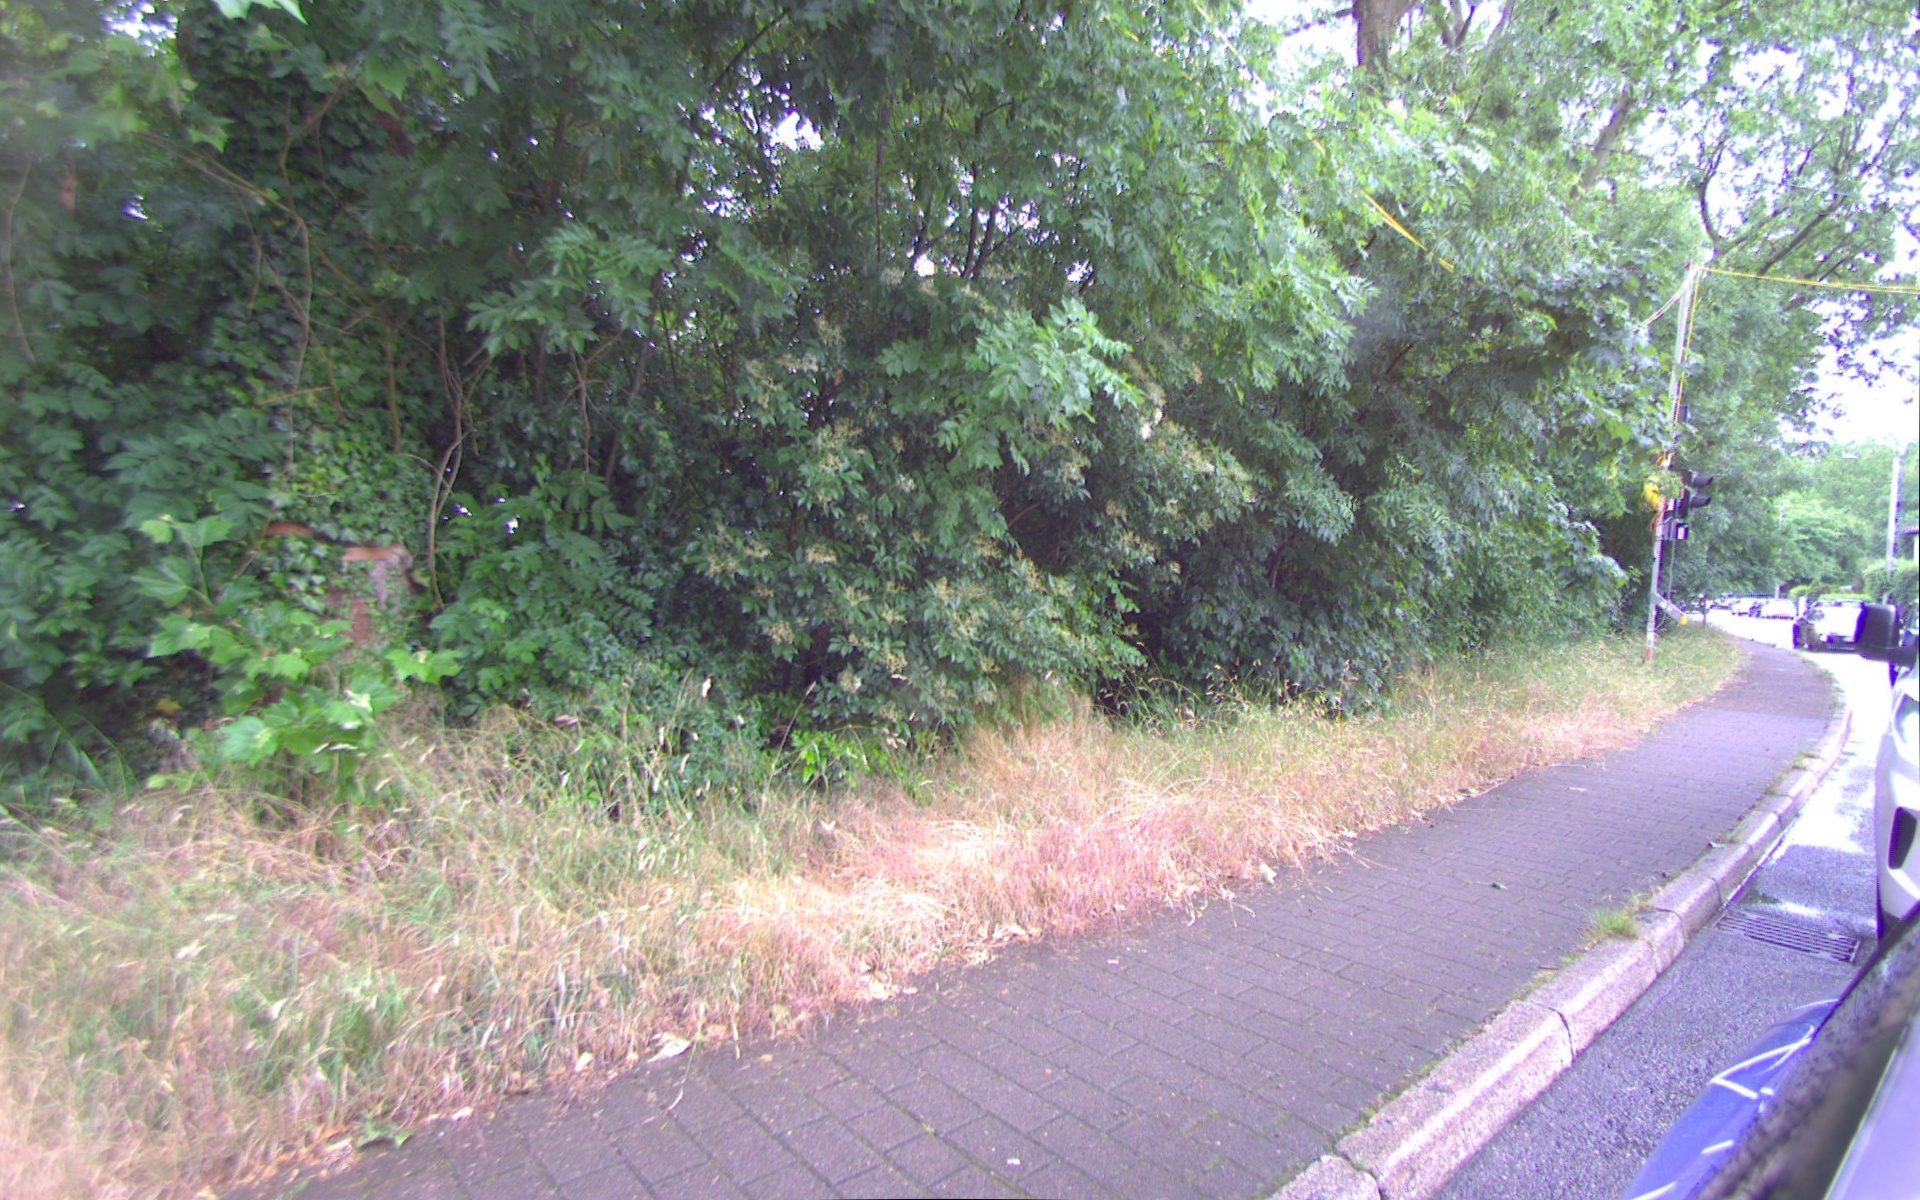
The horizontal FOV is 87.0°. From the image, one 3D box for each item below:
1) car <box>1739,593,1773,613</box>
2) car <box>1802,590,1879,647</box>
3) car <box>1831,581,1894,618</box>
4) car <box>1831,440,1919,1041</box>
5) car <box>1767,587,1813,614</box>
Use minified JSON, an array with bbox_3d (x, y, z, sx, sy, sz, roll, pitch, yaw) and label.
[{"bbox_3d":[64.858,0.219,82.466,1.752,1.547,3.550,0,0,32],"label":"car"},{"bbox_3d":[26.632,0.593,30.679,1.663,1.610,3.946,0,-2,40],"label":"car"},{"bbox_3d":[51.260,-0.066,57.582,1.984,2.039,3.955,0,0,32],"label":"car"},{"bbox_3d":[5.512,0.425,4.287,5.118,1.917,2.044,-1,0,-41],"label":"car"},{"bbox_3d":[60.586,-0.001,73.928,1.984,1.884,4.311,0,0,32],"label":"car"}]
